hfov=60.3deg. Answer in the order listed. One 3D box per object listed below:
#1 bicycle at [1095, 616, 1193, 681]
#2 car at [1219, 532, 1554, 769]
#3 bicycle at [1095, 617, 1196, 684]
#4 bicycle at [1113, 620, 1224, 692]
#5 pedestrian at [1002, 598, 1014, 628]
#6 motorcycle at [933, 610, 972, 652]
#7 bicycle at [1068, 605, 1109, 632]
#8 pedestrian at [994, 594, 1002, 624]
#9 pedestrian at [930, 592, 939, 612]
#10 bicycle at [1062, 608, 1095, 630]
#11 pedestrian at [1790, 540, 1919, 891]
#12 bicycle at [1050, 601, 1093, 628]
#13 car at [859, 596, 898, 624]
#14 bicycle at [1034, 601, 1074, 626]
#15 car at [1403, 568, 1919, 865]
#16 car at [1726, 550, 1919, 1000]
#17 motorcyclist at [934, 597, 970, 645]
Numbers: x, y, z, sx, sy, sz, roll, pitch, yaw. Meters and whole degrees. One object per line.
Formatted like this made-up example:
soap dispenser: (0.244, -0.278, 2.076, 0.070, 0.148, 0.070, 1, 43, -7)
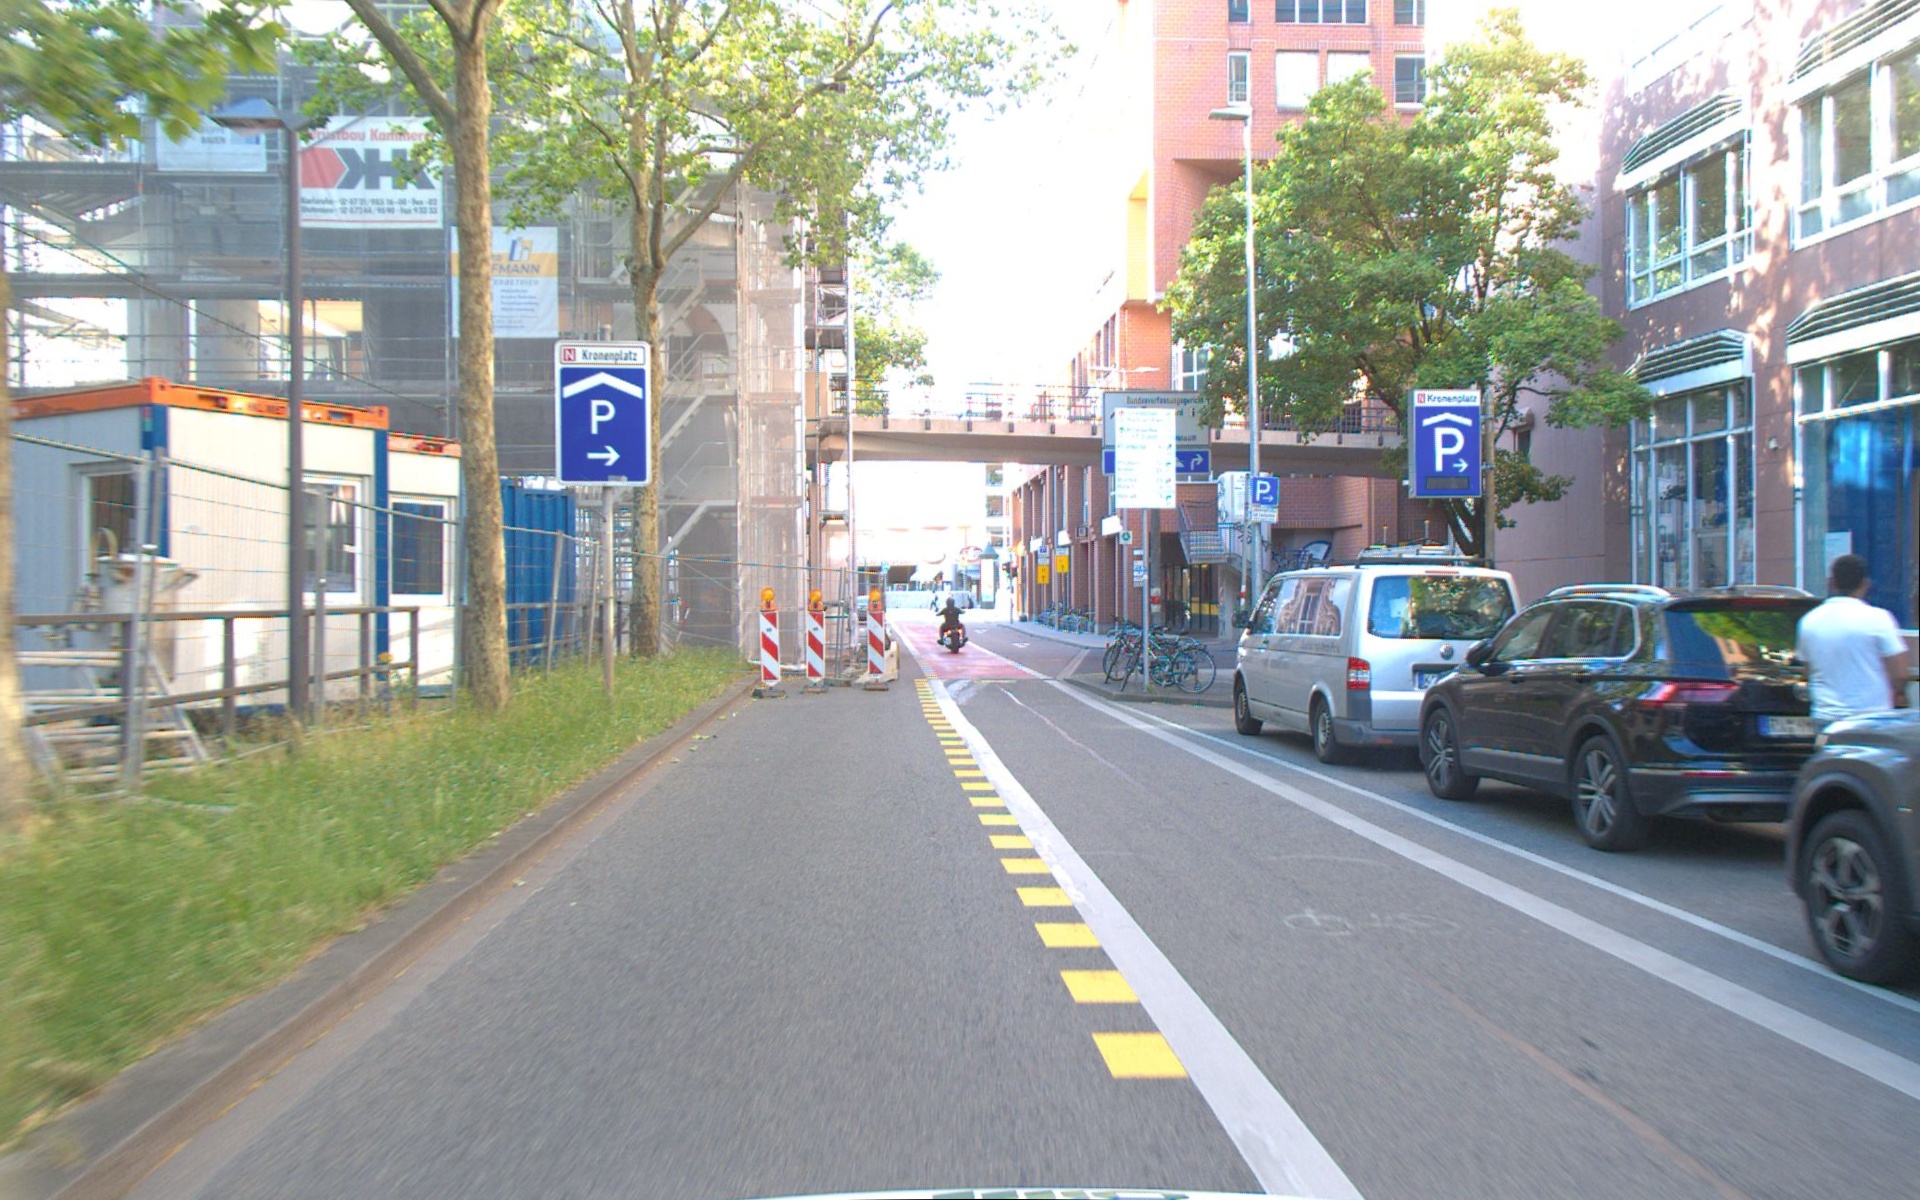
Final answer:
bicycle: (3.194, 0.837, 28.785, 1.646, 1.086, 0.499, 0, 0, 31)
car: (4.247, 0.441, 17.450, 1.881, 2.115, 5.166, 0, 0, -4)
bicycle: (3.145, 0.838, 28.082, 1.646, 1.086, 0.499, 0, 0, 31)
bicycle: (3.254, 0.861, 25.847, 1.642, 1.086, 0.511, 0, 0, 20)
pedestrian: (2.914, 0.788, 100.581, 0.621, 1.755, 0.630, 0, 0, -4)
motorcycle: (-0.233, 0.886, 47.908, 0.954, 1.151, 2.802, 1, 0, -4)
bicycle: (5.213, 0.750, 67.069, 1.579, 0.971, 0.555, -3, 0, -2)
pedestrian: (2.319, 0.548, 101.379, 0.466, 1.824, 0.540, 0, 0, -4)
pedestrian: (-2.049, 0.163, 133.712, 0.547, 1.611, 0.537, 0, 0, 44)
bicycle: (5.000, 0.783, 69.811, 1.307, 0.856, 0.424, -3, 0, -2)
pedestrian: (5.015, 0.604, 9.141, 0.649, 1.844, 0.713, -1, 0, 36)
bicycle: (4.973, 0.647, 73.996, 1.854, 1.138, 0.550, -1, 0, -4)
car: (-4.319, 0.487, 86.903, 1.886, 1.413, 3.996, 0, 0, -5)
bicycle: (4.430, 0.629, 77.962, 1.854, 1.138, 0.474, -1, 0, -4)
car: (4.680, 0.658, 11.632, 1.752, 1.699, 4.196, 0, 0, -4)
car: (4.557, 0.660, 5.470, 1.752, 1.699, 4.436, 0, 0, -4)
motorcyclist: (-0.240, 0.596, 48.037, 0.951, 1.370, 1.137, 1, 0, -4)
